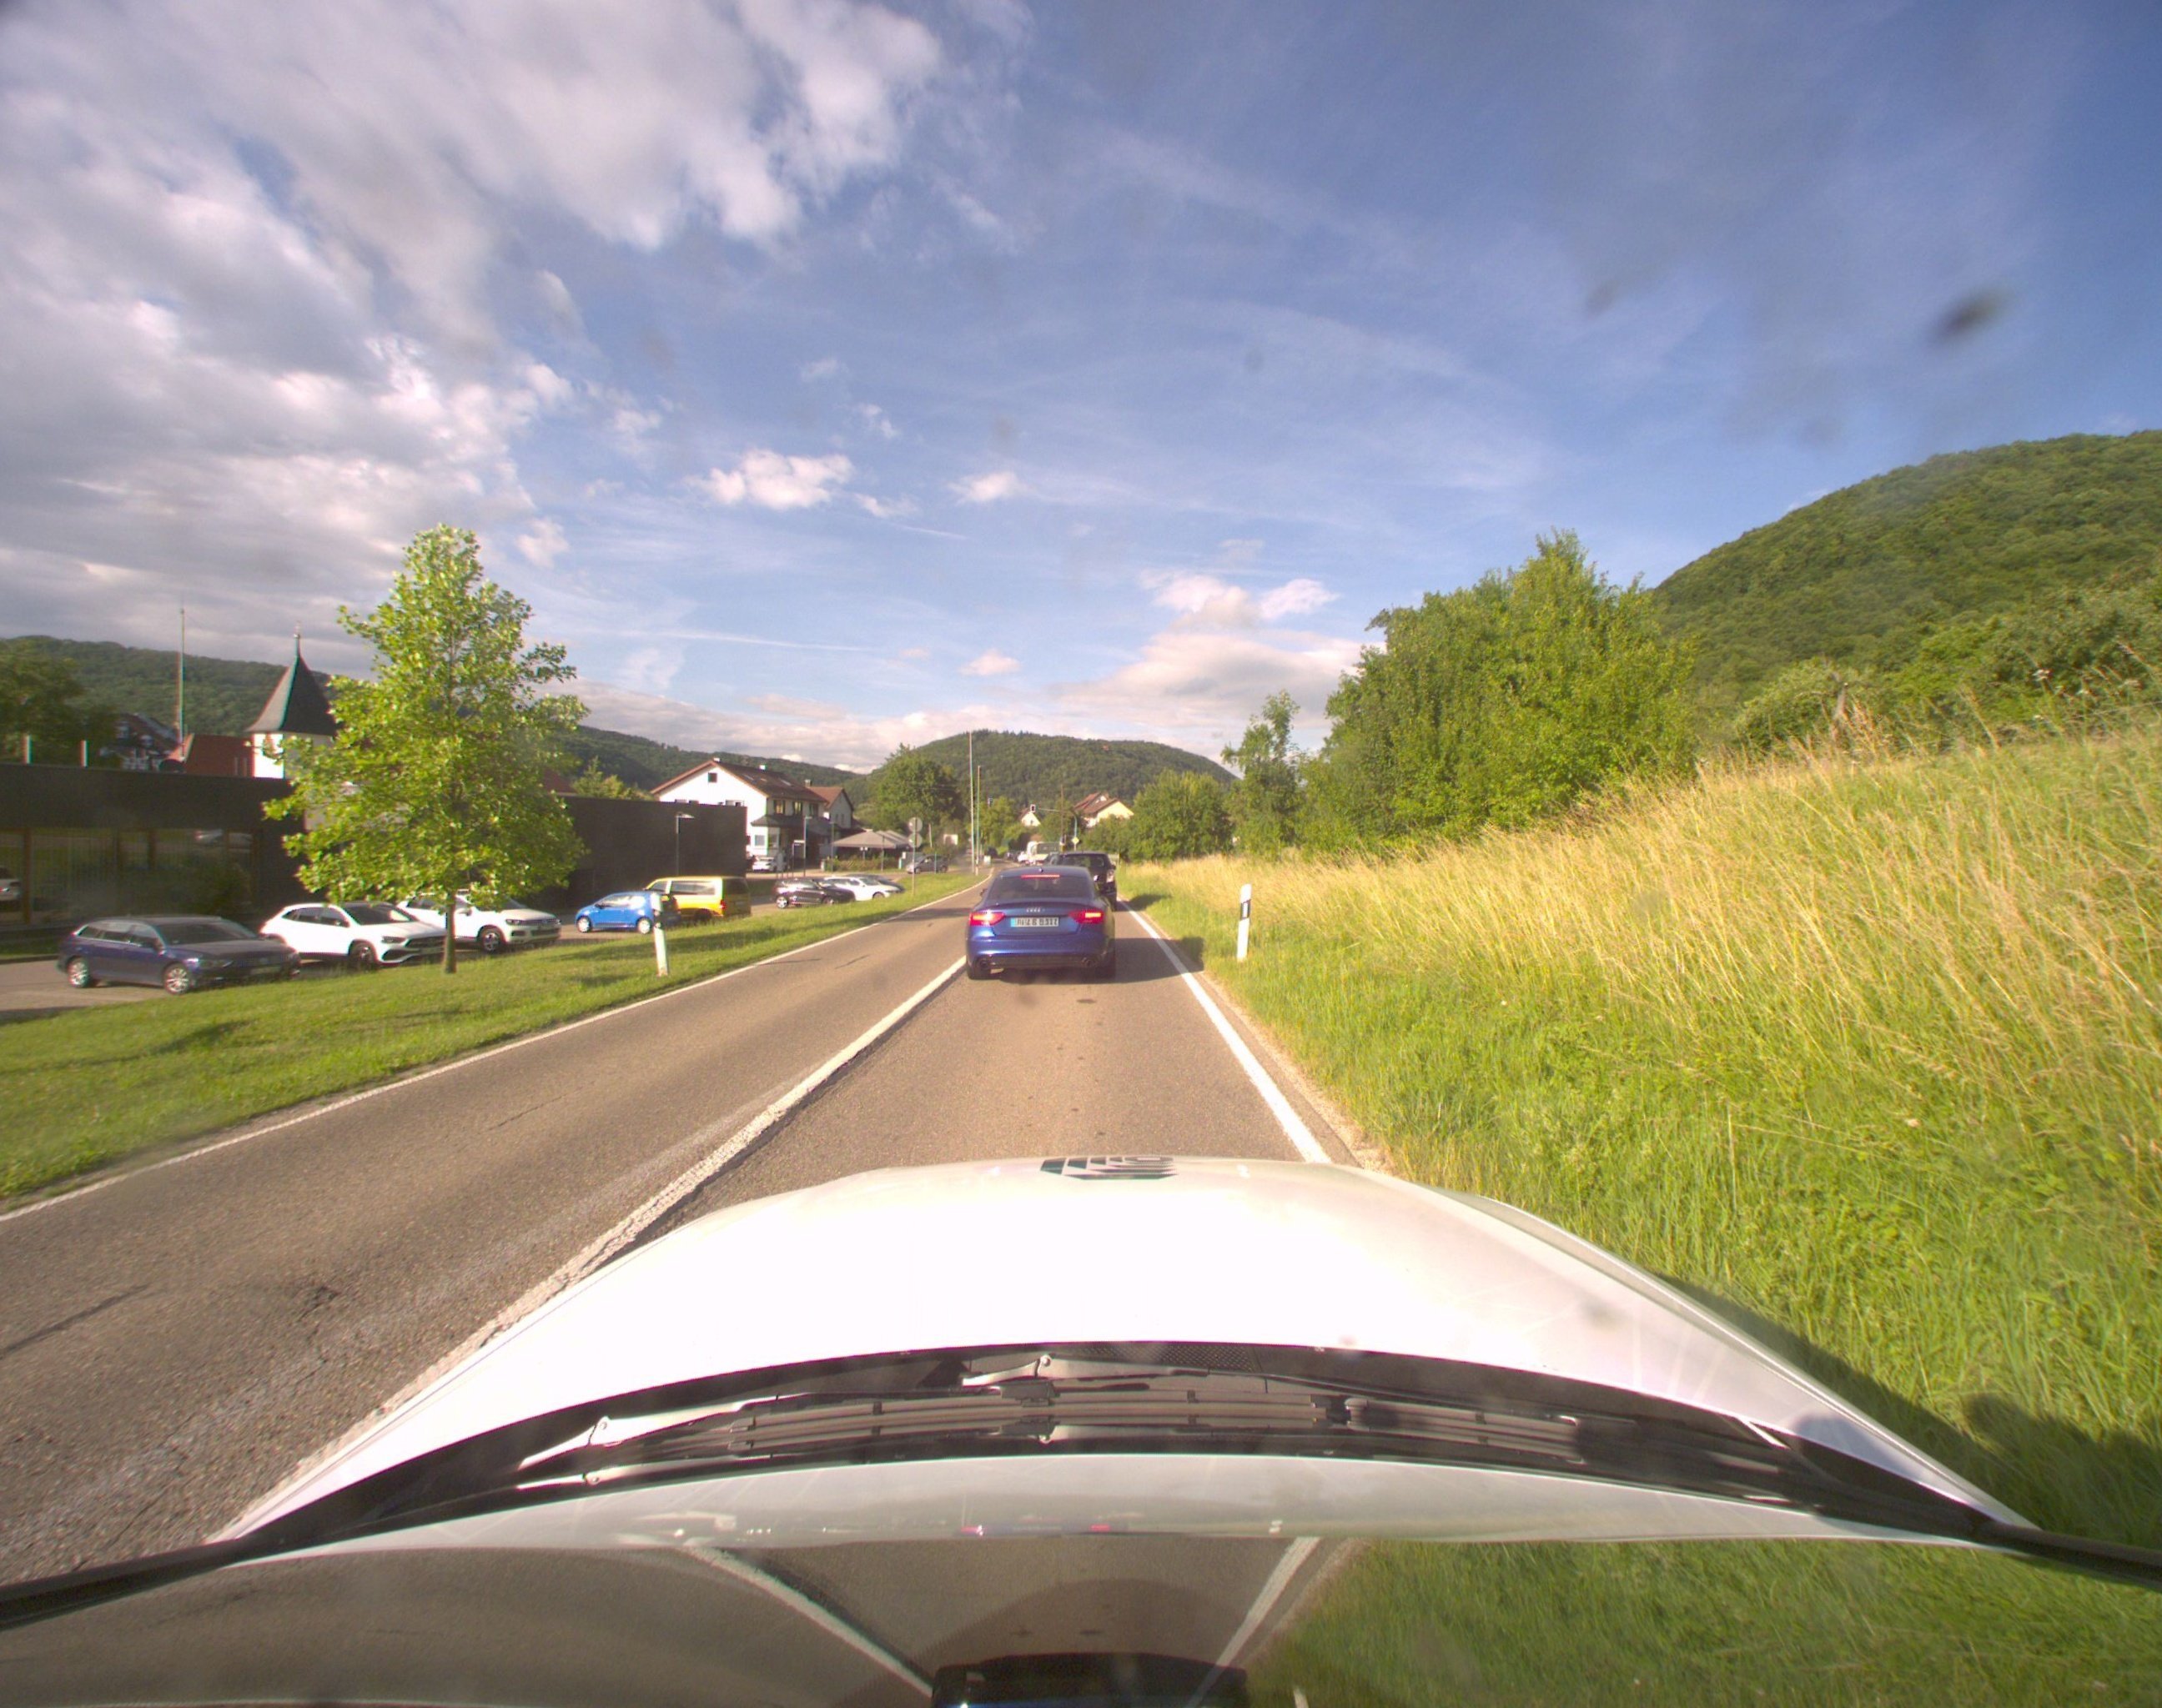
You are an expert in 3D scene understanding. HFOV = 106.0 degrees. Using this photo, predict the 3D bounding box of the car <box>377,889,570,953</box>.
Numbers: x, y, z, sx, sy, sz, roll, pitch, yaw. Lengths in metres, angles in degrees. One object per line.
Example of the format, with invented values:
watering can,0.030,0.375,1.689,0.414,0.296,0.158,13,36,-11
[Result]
car,-17.805,1.915,23.964,4.510,1.703,2.006,0,-1,11

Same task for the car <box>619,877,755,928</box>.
car,-15.463,1.869,32.070,4.577,1.868,2.008,-1,-1,14

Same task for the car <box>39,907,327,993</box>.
car,-18.973,1.959,17.299,4.510,1.555,2.006,0,-1,11

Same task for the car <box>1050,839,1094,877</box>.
car,-0.370,0.210,37.907,1.797,1.639,4.466,0,-1,2

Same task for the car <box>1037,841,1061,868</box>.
car,-2.690,0.036,67.506,1.743,2.195,3.993,0,-1,-5

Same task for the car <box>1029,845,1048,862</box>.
car,-4.200,-0.017,80.524,1.743,1.639,3.993,0,-1,-5

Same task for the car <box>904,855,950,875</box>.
car,-13.246,0.943,70.000,3.485,1.662,1.721,0,-1,-35

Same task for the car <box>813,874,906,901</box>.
car,-12.597,1.885,46.404,4.783,1.493,1.886,0,-1,10

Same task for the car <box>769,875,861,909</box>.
car,-13.659,1.941,41.970,3.999,1.637,2.006,0,-1,11

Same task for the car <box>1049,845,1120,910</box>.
car,0.188,0.609,22.703,1.738,1.639,4.004,0,-1,3

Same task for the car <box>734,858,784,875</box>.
car,-28.191,1.046,71.351,1.748,1.442,4.022,-1,-1,23

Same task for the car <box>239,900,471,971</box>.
car,-18.262,1.999,20.589,4.510,1.555,2.006,0,-1,11

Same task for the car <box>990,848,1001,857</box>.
car,-15.278,-0.196,145.444,1.626,1.576,3.666,0,-1,-11

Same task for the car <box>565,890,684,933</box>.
car,-16.552,2.067,29.592,3.473,1.472,1.637,0,-1,8

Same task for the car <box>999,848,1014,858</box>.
car,-11.257,-0.183,122.884,1.700,1.490,3.510,0,-1,-14

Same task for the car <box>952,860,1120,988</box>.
car,-0.407,0.798,11.029,1.787,1.388,4.004,-1,-1,3

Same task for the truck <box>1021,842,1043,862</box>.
truck,-5.200,-0.179,85.794,1.698,1.953,5.901,0,-1,-10

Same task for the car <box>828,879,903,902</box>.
car,-12.900,2.182,48.959,3.966,1.310,1.764,0,-1,6
